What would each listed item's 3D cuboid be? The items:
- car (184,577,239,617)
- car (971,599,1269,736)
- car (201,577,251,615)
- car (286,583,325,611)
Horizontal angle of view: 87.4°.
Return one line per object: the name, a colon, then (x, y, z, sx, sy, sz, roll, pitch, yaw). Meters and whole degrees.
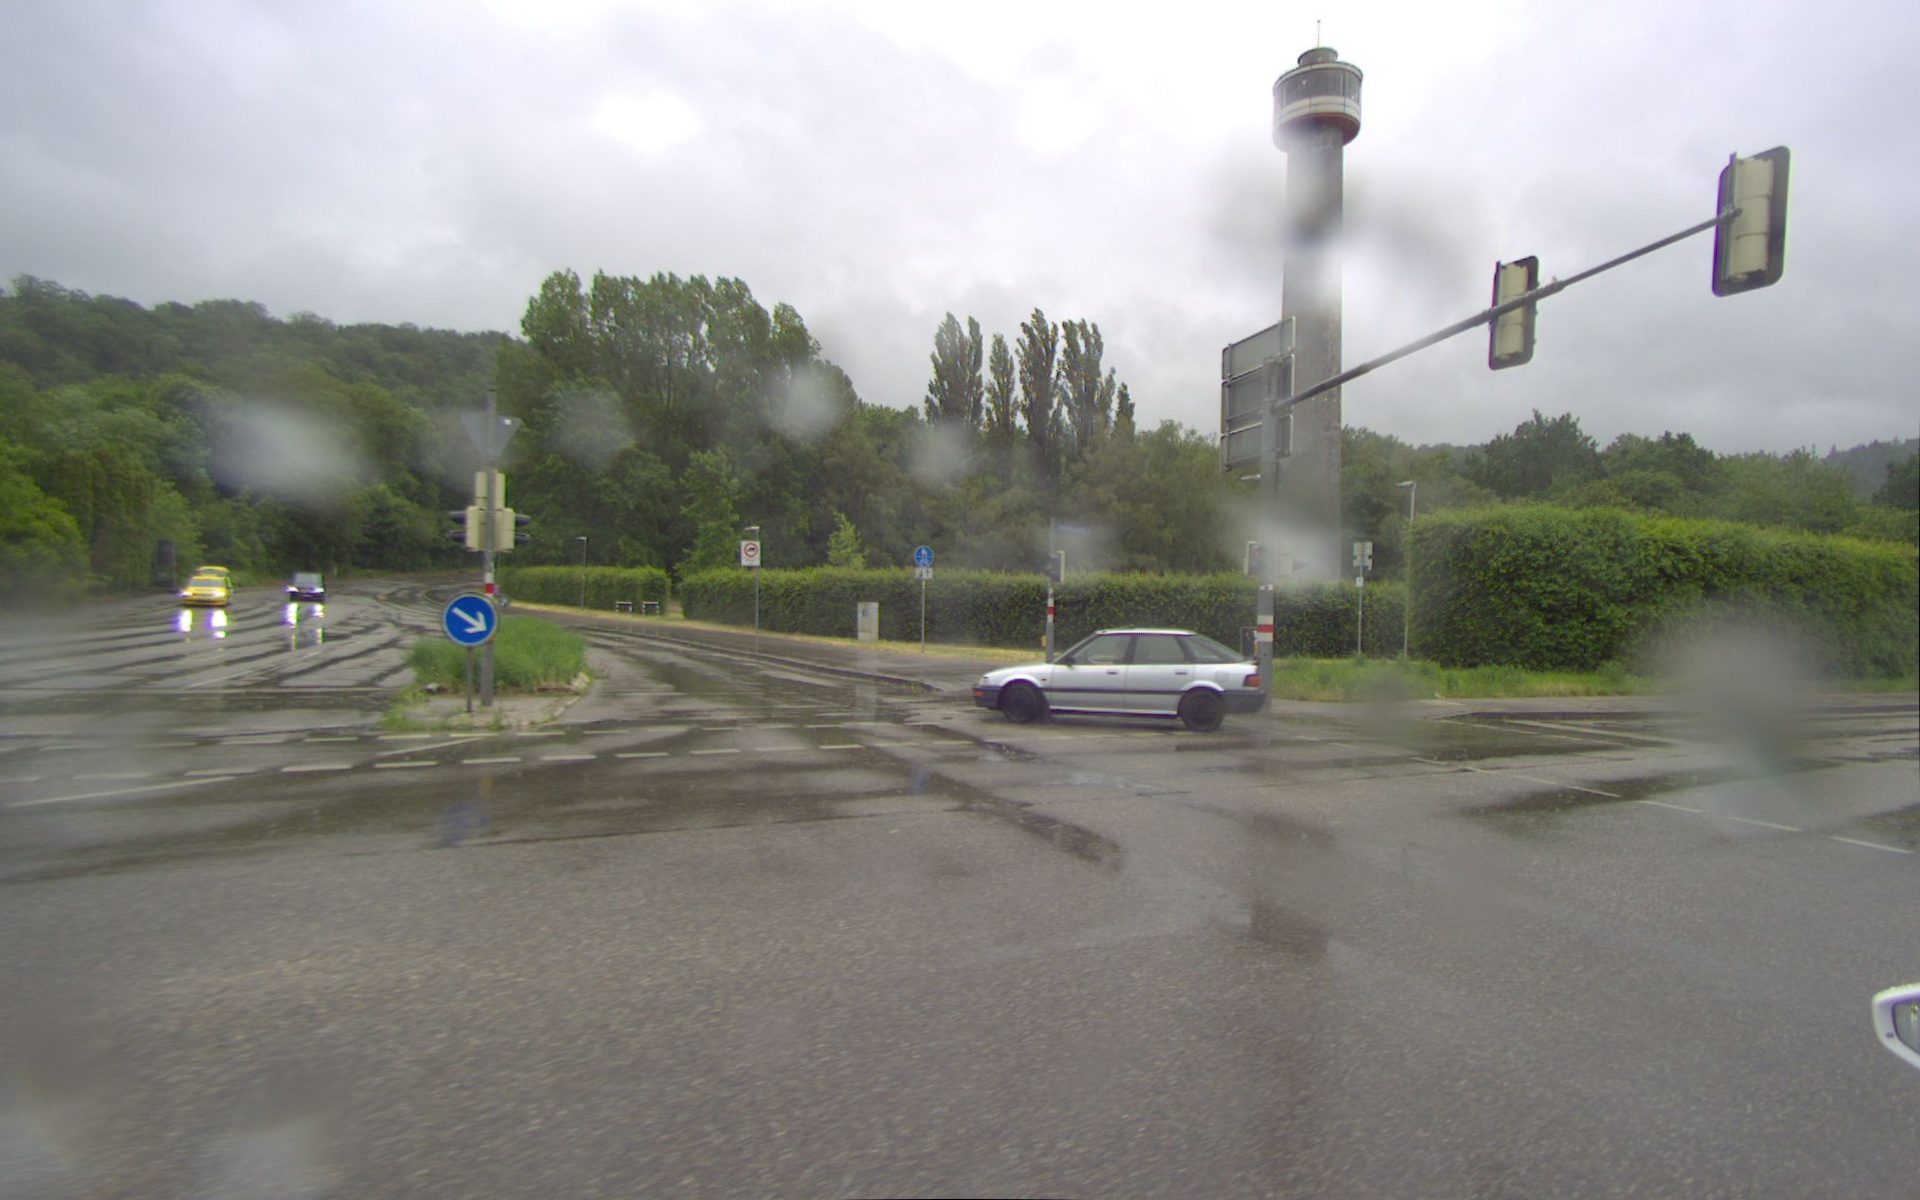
car: (-39.933, -0.170, 53.643, 1.791, 2.054, 3.656, 1, 1, -28)
car: (2.354, 0.887, 14.649, 3.983, 1.731, 2.044, 1, 0, 15)
car: (-41.864, -0.230, 57.356, 1.792, 2.040, 3.655, 1, 0, -29)
car: (-43.864, -0.194, 67.392, 1.810, 1.840, 3.970, 1, 0, -28)
